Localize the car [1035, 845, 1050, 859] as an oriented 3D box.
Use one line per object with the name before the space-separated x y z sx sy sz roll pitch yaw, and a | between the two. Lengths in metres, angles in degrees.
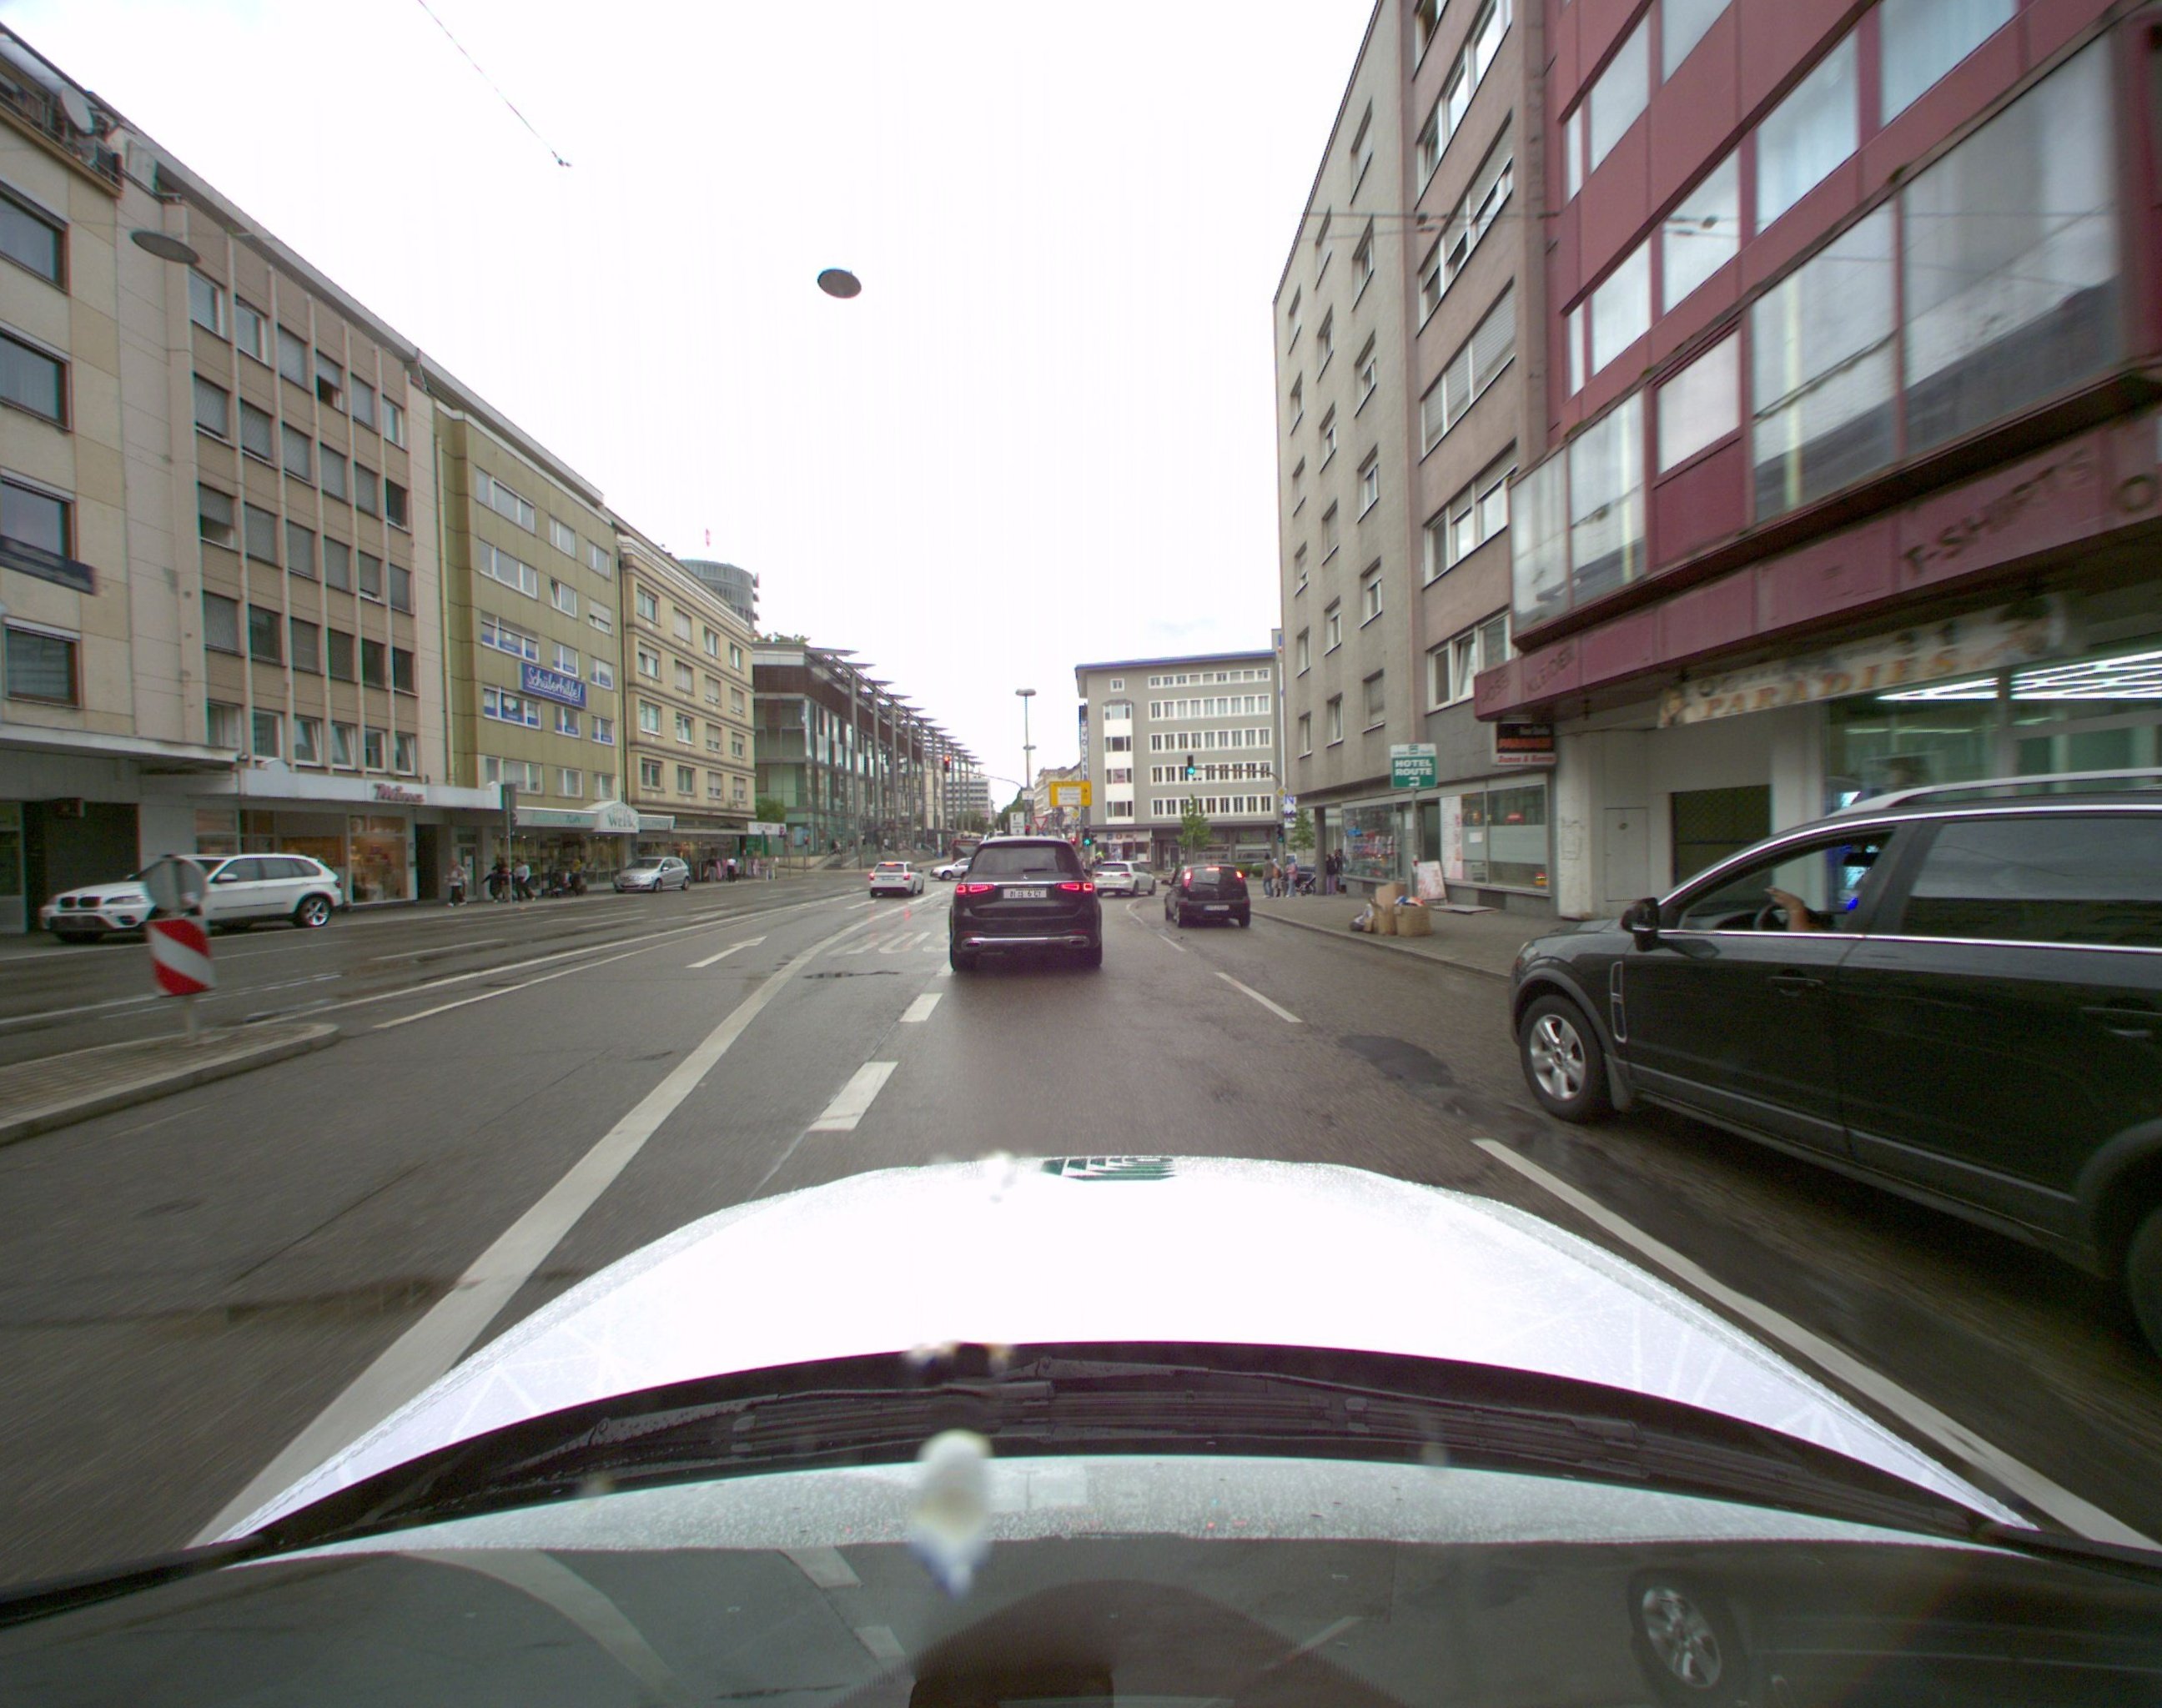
car | -5.236 -0.284 109.941 1.858 1.826 4.097 1 0 -5

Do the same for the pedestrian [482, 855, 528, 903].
pedestrian | -21.359 0.915 30.219 0.950 1.695 1.085 1 1 -4

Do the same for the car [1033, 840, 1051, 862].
car | -5.582 -0.402 116.486 2.440 2.957 6.143 1 0 -4

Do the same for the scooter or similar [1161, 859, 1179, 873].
scooter or similar | 7.537 1.028 69.070 1.369 1.187 0.546 -1 0 17

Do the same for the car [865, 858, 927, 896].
car | -7.732 0.930 34.449 1.788 1.415 4.626 -1 0 -3

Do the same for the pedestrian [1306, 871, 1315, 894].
pedestrian | 10.145 1.254 35.966 0.258 1.000 0.474 -6 -2 20

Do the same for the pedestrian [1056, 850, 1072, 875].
pedestrian | -1.243 0.635 59.630 1.009 1.787 0.851 1 0 -9

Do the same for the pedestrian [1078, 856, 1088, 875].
pedestrian | 0.133 0.839 59.310 0.629 1.339 0.586 1 0 -8

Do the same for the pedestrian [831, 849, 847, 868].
pedestrian | -22.637 0.432 76.122 1.029 1.713 1.013 0 0 25

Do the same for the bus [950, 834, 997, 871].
bus | -10.641 -0.112 82.879 2.912 3.321 18.464 0 0 -2

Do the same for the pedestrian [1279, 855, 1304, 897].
pedestrian | 8.541 0.898 33.029 0.736 1.635 0.600 -6 -5 39

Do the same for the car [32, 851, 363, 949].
car | -18.738 0.854 17.744 1.844 1.827 4.961 0 0 -1

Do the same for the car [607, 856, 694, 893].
car | -19.398 0.877 36.903 1.695 1.563 4.200 0 0 -1

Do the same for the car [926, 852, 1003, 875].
car | -7.698 0.605 53.818 4.754 1.446 1.779 0 0 -20

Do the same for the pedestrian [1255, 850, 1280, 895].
pedestrian | 7.123 0.707 31.056 0.620 1.692 0.787 -3 -3 33

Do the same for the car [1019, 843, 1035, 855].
car | -8.370 -0.821 126.337 2.417 1.780 5.149 1 0 -3

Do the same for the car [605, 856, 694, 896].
car | -19.425 0.940 36.891 1.843 1.550 4.396 1 1 -3

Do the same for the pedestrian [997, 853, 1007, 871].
pedestrian | -8.438 0.877 86.833 0.950 1.886 0.811 1 0 4

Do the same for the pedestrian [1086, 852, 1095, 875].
pedestrian | 0.697 0.687 59.283 0.566 1.669 0.502 0 0 4

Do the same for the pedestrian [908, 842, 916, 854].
pedestrian | -22.769 -0.802 109.822 1.038 1.713 1.005 0 0 -8

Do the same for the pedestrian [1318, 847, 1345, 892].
pedestrian | 9.830 0.607 31.994 0.831 1.723 0.618 -2 -3 5

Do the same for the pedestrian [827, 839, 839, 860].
pedestrian | -24.403 -0.442 80.260 0.879 1.980 0.974 0 0 -3

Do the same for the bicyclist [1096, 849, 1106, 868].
bicyclist | 1.902 0.425 76.563 0.839 1.704 0.625 -1 0 11

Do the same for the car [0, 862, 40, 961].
car | -18.489 0.943 11.294 1.860 1.608 4.877 0 0 -1

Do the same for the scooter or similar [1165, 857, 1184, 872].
scooter or similar | 8.108 0.886 70.831 1.485 1.257 0.935 0 -2 17

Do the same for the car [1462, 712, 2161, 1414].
car | 3.603 0.490 3.242 1.903 1.785 4.295 -2 1 -4

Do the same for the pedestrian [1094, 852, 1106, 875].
pedestrian | 1.361 0.694 59.293 0.777 1.689 0.640 1 0 6

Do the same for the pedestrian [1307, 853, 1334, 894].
pedestrian | 10.395 0.834 35.308 1.028 1.722 0.841 -2 -1 14

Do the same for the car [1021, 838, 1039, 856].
car | -10.427 -1.417 168.075 2.431 3.465 6.166 1 0 8

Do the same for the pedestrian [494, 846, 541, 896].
pedestrian | -20.221 0.598 29.242 0.950 1.714 1.089 1 1 -4

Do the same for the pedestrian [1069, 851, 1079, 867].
pedestrian | -0.824 0.558 93.802 1.021 1.775 0.797 1 0 -8

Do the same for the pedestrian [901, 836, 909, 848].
pedestrian | -25.174 -1.725 116.218 1.038 1.713 1.005 0 0 -8

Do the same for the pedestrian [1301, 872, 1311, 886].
pedestrian | 9.798 1.088 35.511 0.368 0.571 0.460 -3 -1 17

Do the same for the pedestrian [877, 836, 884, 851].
pedestrian | -23.280 -1.240 94.609 0.680 1.713 0.848 0 0 -8

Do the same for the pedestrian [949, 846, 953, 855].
pedestrian | -18.597 -0.523 116.821 0.508 1.340 0.420 1 0 2

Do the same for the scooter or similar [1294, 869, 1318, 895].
scooter or similar | 9.809 1.213 35.478 0.962 1.109 0.658 -3 -1 16

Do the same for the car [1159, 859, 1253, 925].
car | 2.888 0.858 19.500 1.711 1.420 3.769 0 -1 0

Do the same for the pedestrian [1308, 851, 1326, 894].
pedestrian | 10.641 0.840 36.751 0.611 1.868 0.789 -4 -5 13

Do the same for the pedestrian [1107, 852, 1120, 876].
pedestrian | 2.419 0.718 60.487 0.829 1.778 0.616 1 0 -8

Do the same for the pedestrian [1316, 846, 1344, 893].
pedestrian | 10.271 0.633 33.604 0.832 1.865 0.658 -3 -4 2

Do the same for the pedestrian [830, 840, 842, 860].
pedestrian | -24.428 -0.379 81.215 0.873 1.980 0.849 0 0 -3

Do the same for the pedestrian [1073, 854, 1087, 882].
pedestrian | -0.045 0.789 46.246 0.710 1.568 0.855 1 -1 2

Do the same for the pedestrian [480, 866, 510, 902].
pedestrian | -21.020 1.067 29.218 0.533 1.249 0.720 1 1 -4

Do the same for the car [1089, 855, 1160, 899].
car | 1.899 0.907 34.387 1.934 1.573 4.020 1 2 19

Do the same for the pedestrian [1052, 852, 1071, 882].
pedestrian | -1.090 0.714 45.237 0.974 1.672 0.916 1 0 3

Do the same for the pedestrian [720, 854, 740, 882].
pedestrian | -20.806 0.827 48.226 0.765 1.628 0.850 0 0 44

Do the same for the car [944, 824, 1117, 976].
car | -0.836 0.523 12.342 2.085 1.817 4.783 -1 1 -6

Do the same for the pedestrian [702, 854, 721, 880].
pedestrian | -21.928 0.771 48.343 0.783 1.537 0.680 0 0 -5

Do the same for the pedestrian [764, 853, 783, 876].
pedestrian | -21.740 0.758 57.519 0.868 1.586 1.154 0 0 1

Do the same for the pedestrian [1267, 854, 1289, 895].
pedestrian | 8.145 0.871 33.722 0.538 1.637 0.837 -4 -4 -3

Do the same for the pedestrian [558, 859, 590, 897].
pedestrian | -20.647 0.949 33.166 0.665 1.484 1.064 1 1 -4

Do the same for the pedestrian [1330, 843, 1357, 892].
pedestrian | 10.578 0.556 32.847 0.814 1.931 0.733 -2 -2 5

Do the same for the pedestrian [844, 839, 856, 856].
pedestrian | -22.678 -0.624 79.927 1.038 1.713 1.005 0 0 -8

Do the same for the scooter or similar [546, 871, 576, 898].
scooter or similar | -20.611 1.207 32.280 0.735 1.054 0.700 1 1 -4

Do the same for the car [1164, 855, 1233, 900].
car | 4.927 0.913 33.702 1.933 1.573 4.021 2 2 21

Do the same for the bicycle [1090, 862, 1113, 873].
bicycle | 1.936 1.245 76.558 2.123 0.993 0.696 0 0 11

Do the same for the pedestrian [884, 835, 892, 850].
pedestrian | -22.496 -1.303 95.043 0.827 1.713 0.800 0 0 -8

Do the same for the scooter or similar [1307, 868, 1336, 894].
scooter or similar | 9.701 1.090 32.831 0.768 0.986 1.047 -2 -4 -3

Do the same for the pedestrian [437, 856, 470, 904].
pedestrian | -21.022 0.864 27.296 0.640 1.574 0.611 0 0 -3
